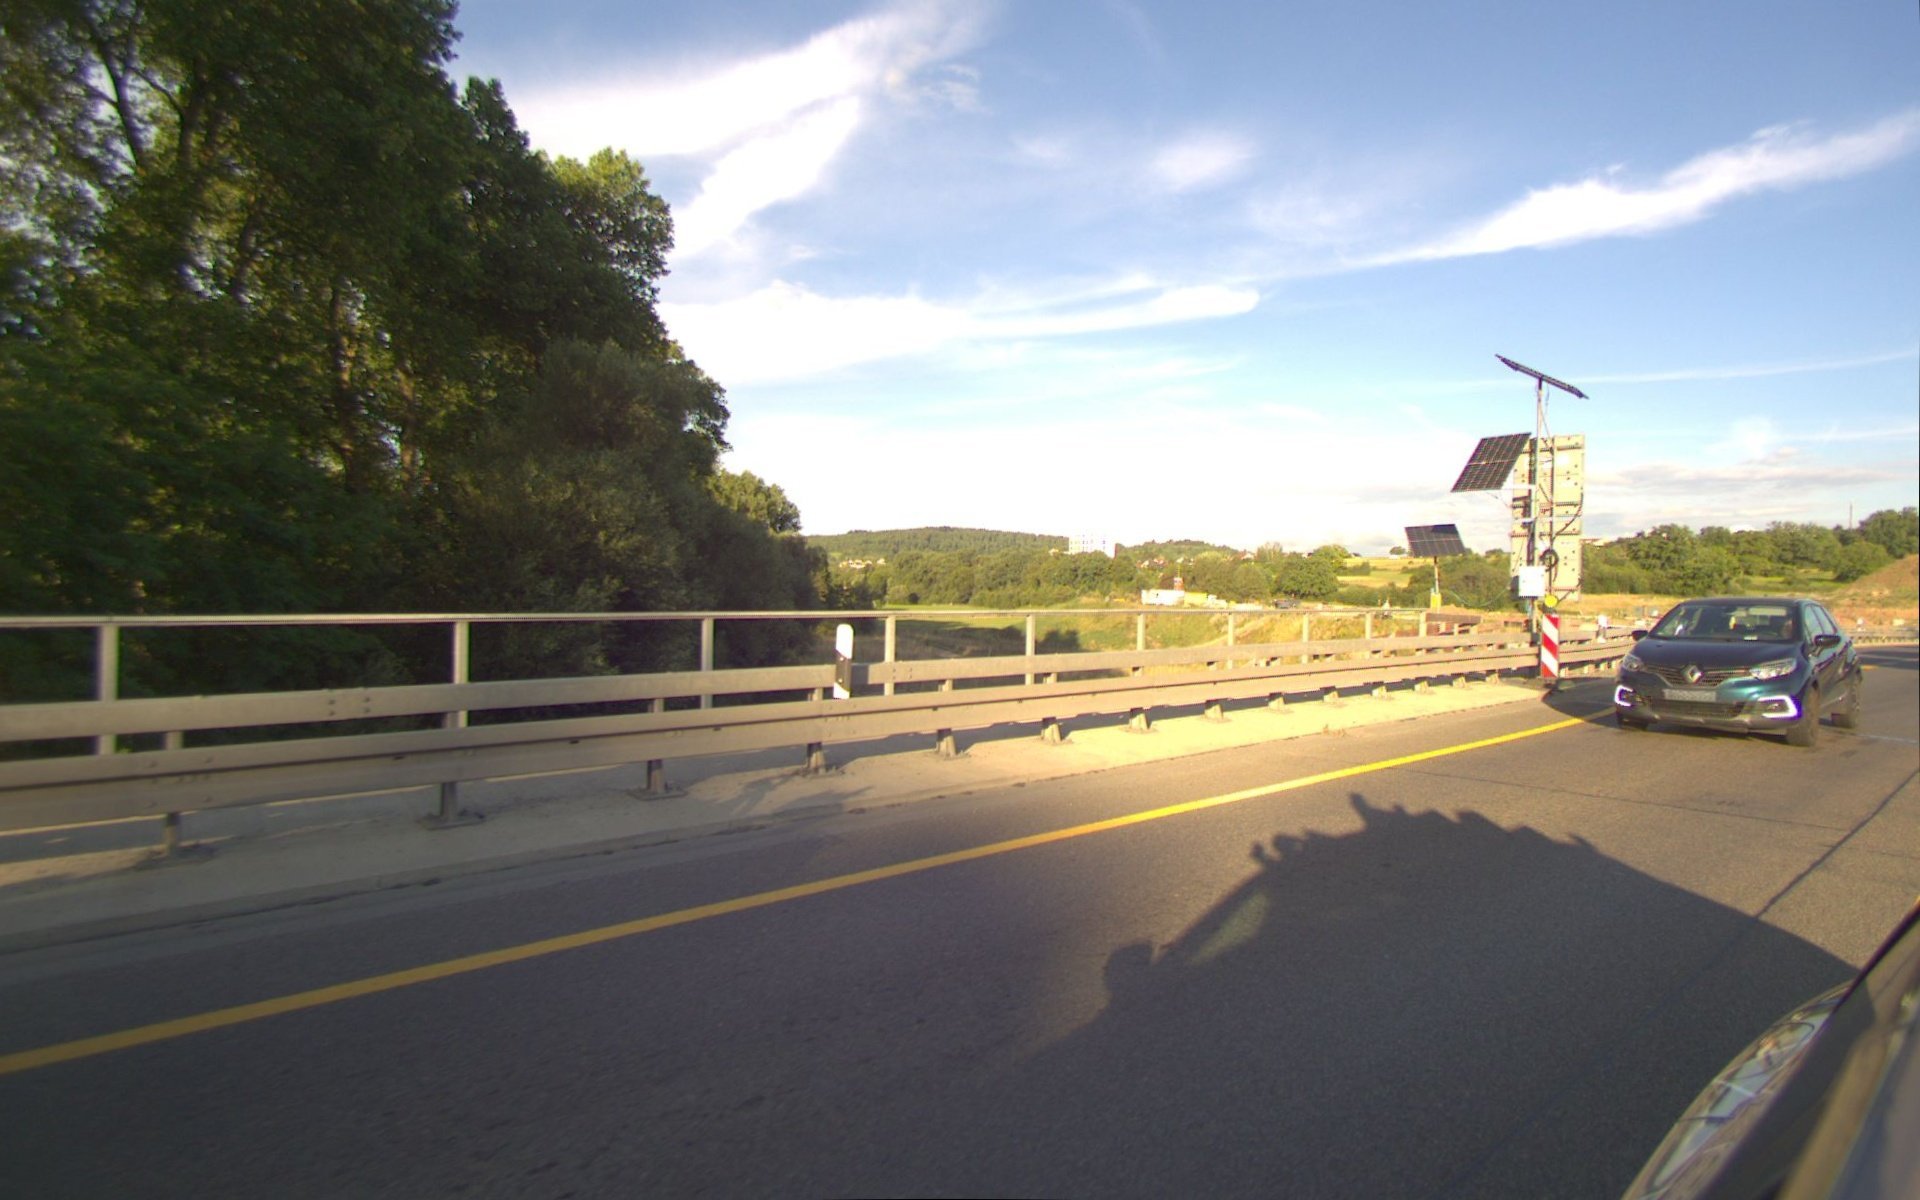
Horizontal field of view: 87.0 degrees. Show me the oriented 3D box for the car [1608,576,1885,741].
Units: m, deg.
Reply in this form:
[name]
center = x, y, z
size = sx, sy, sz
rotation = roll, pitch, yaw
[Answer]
[car]
center = 9.333, 0.604, 11.901
size = 4.061, 1.606, 1.777
rotation = 1, -1, -40
